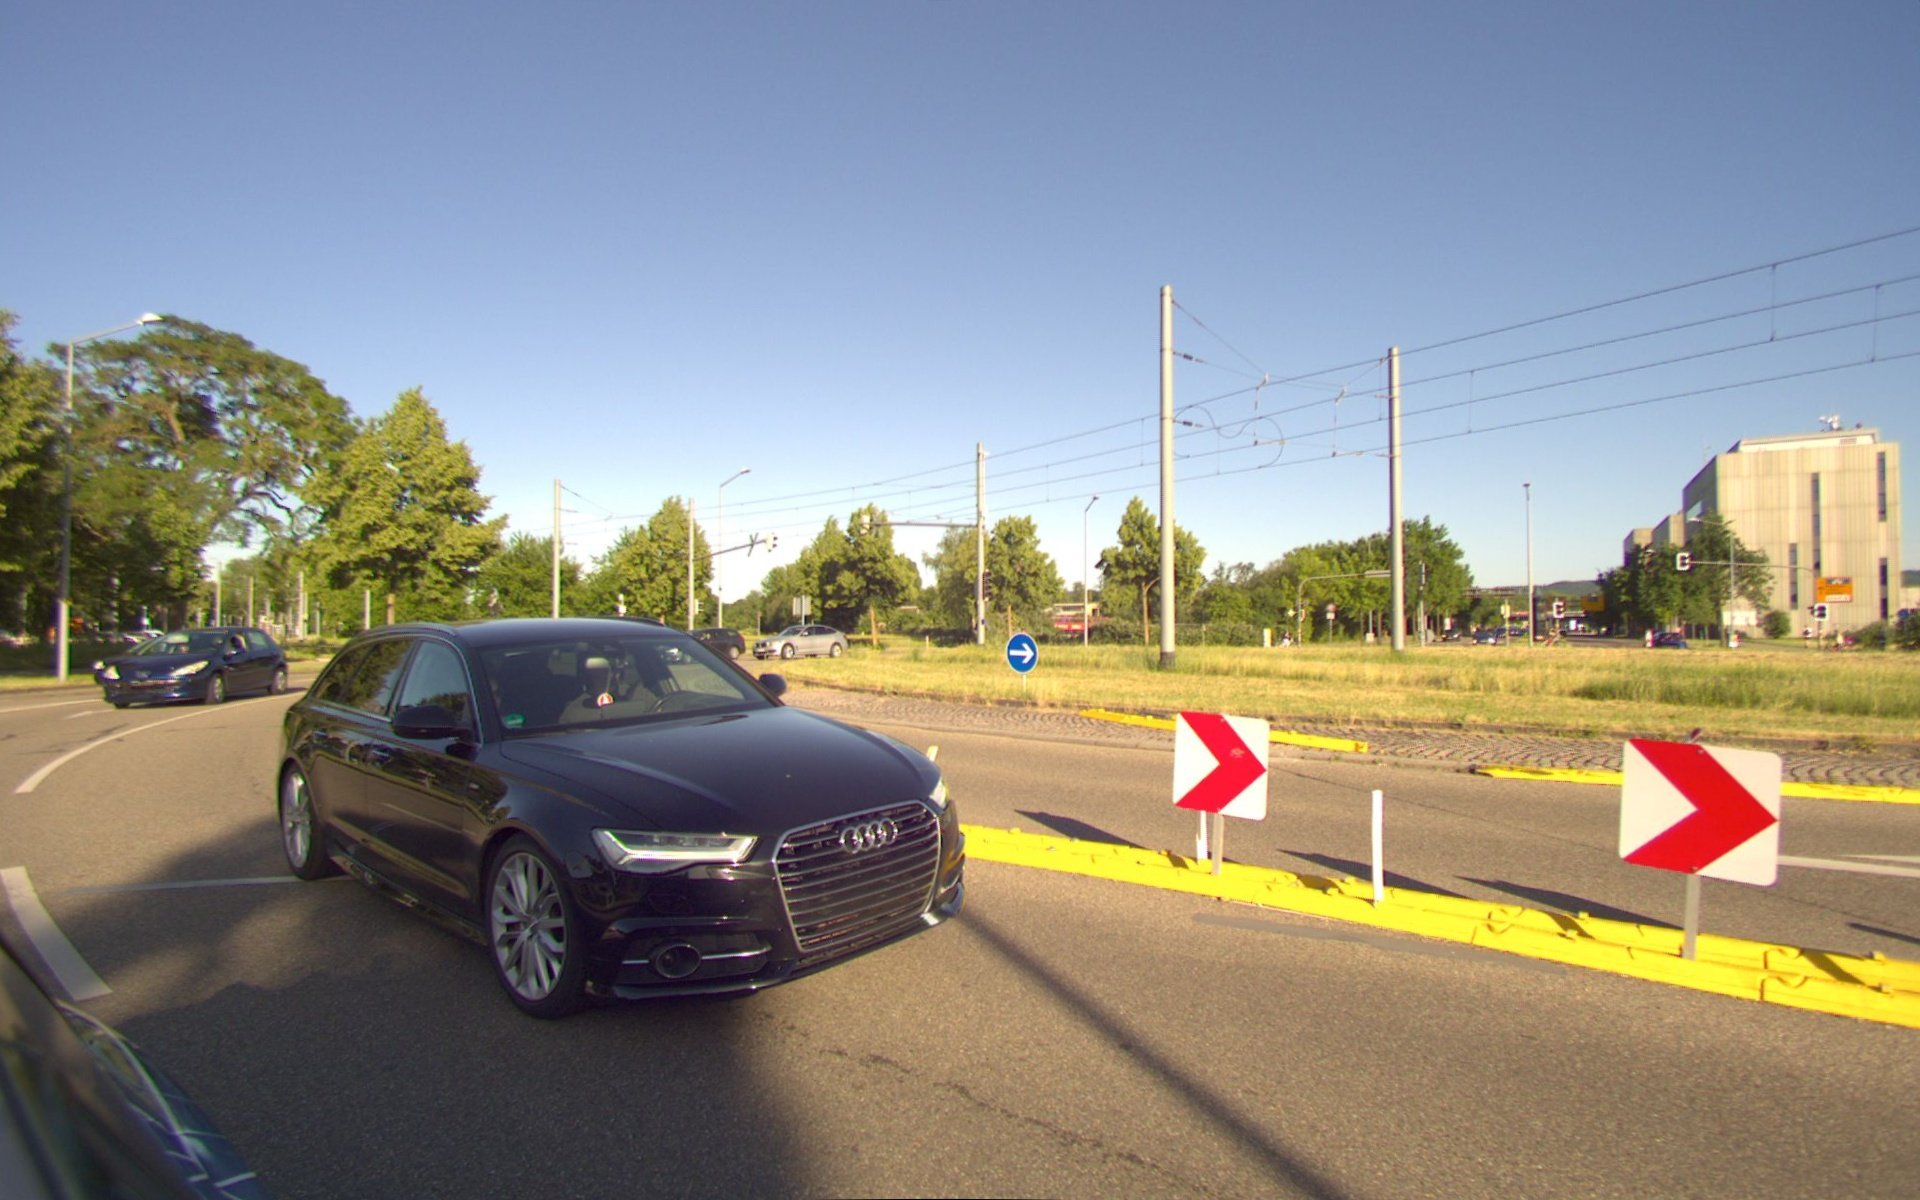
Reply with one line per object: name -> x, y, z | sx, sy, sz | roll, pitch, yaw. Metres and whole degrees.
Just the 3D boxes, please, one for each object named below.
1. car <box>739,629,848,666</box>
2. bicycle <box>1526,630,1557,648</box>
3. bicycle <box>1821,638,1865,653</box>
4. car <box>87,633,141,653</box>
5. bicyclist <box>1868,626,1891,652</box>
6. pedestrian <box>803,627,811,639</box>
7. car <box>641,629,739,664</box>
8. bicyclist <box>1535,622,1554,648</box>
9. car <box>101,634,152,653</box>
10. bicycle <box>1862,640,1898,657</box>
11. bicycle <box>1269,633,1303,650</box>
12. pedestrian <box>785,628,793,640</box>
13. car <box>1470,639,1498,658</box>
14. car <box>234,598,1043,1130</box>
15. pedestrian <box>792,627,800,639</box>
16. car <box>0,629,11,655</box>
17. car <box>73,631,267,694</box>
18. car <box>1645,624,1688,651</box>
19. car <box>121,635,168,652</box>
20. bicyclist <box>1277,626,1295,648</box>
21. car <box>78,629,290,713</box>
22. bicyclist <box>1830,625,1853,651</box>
car -> -7.264, 2.071, 44.440 | 1.937, 1.390, 4.474 | -4, -2, 42
bicycle -> 38.871, 2.615, 67.685 | 1.644, 1.137, 0.699 | -2, -1, 22
bicycle -> 52.028, 2.689, 59.651 | 1.886, 0.859, 0.609 | -2, -3, 38
car -> -85.057, 4.308, 101.776 | 3.932, 1.769, 1.920 | -1, -2, -31
bicyclist -> 56.096, 2.385, 61.739 | 0.656, 1.592, 0.830 | -1, -2, 16
pedestrian -> -18.715, 4.085, 123.639 | 0.767, 1.451, 0.791 | -1, -2, 15
car -> -11.998, 2.064, 45.156 | 1.722, 1.390, 4.016 | -4, -2, 38
bicyclist -> 39.054, 2.338, 67.626 | 0.936, 1.676, 0.699 | -2, -1, 22
car -> -88.582, 4.612, 107.660 | 3.932, 1.769, 1.920 | -1, -2, -31
bicycle -> 56.121, 2.974, 61.740 | 0.656, 0.995, 2.251 | -1, -2, 16
bicycle -> 23.820, 3.023, 73.966 | 2.191, 1.164, 0.874 | 0, 0, 8
pedestrian -> -20.968, 4.156, 123.992 | 0.680, 1.451, 0.791 | -1, -2, 14
car -> 46.685, 4.321, 90.148 | 1.950, 1.627, 3.877 | -2, -2, 31
car -> -2.091, 0.784, 5.187 | 5.018, 1.454, 1.772 | -2, -1, 44
pedestrian -> -19.981, 4.047, 123.584 | 0.680, 1.451, 0.791 | -1, -2, 14
car -> -99.496, 4.357, 102.966 | 3.932, 2.673, 2.006 | -1, -2, -31
car -> -21.257, 1.631, 27.517 | 1.616, 1.478, 4.542 | -1, -1, 3
car -> 48.169, 2.523, 69.074 | 1.766, 1.798, 3.882 | -1, -2, 27
car -> -93.079, 5.011, 115.555 | 3.932, 1.769, 1.920 | -1, -2, -31
bicyclist -> 23.845, 2.690, 73.972 | 1.075, 1.573, 0.874 | 0, 0, 8
car -> -15.286, 1.336, 20.222 | 1.730, 1.465, 4.008 | -1, -1, -10
bicyclist -> 51.983, 2.223, 59.696 | 0.924, 1.528, 0.609 | -2, -3, 37
